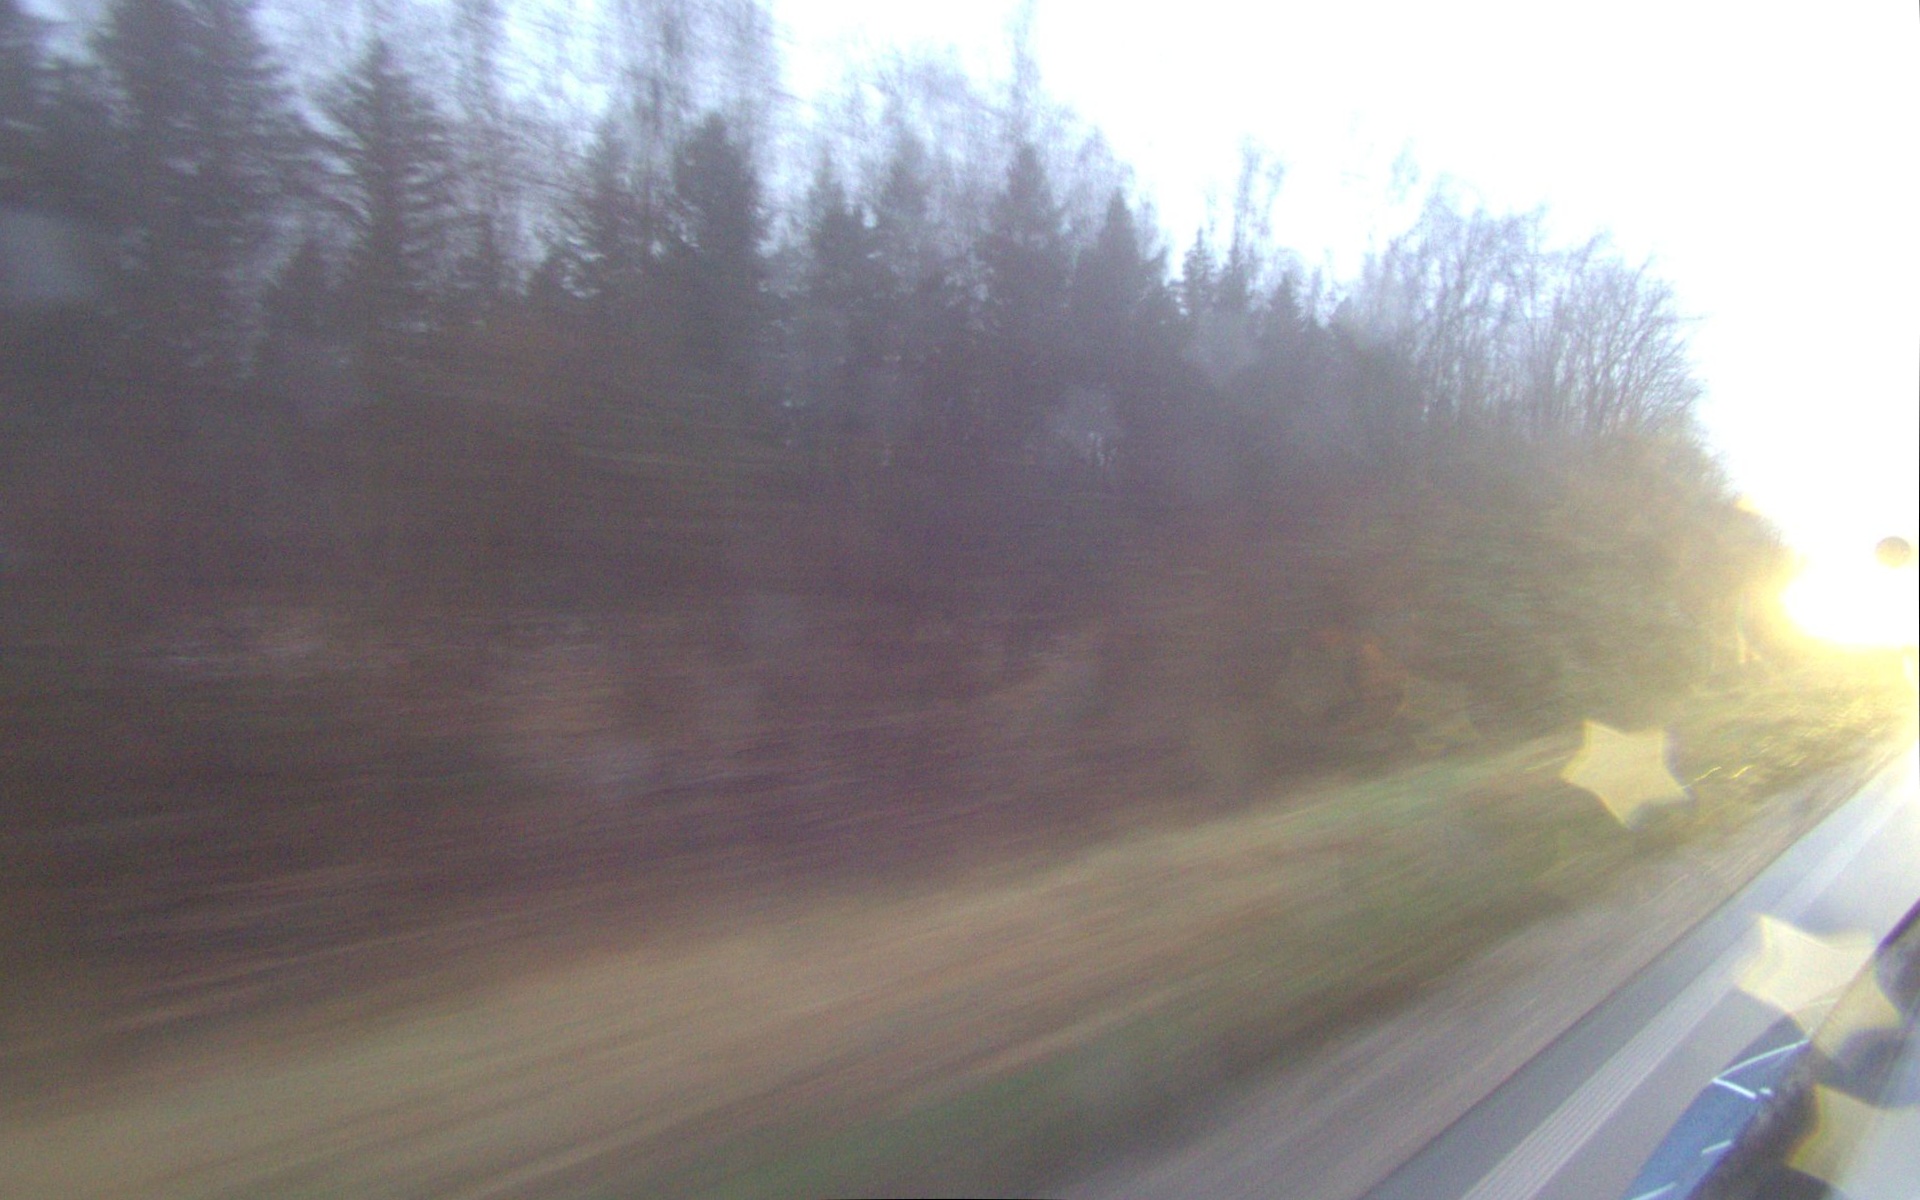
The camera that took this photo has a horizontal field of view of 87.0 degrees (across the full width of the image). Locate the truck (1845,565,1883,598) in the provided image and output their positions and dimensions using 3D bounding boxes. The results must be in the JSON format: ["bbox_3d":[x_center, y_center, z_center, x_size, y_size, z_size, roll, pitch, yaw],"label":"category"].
[{"bbox_3d":[128.593,-2.607,144.119,3.341,4.483,11.012,-1,0,39],"label":"truck"}]

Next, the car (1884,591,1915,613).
[{"bbox_3d":[76.630,0.166,82.599,1.696,1.753,3.940,-1,0,42],"label":"car"}]
